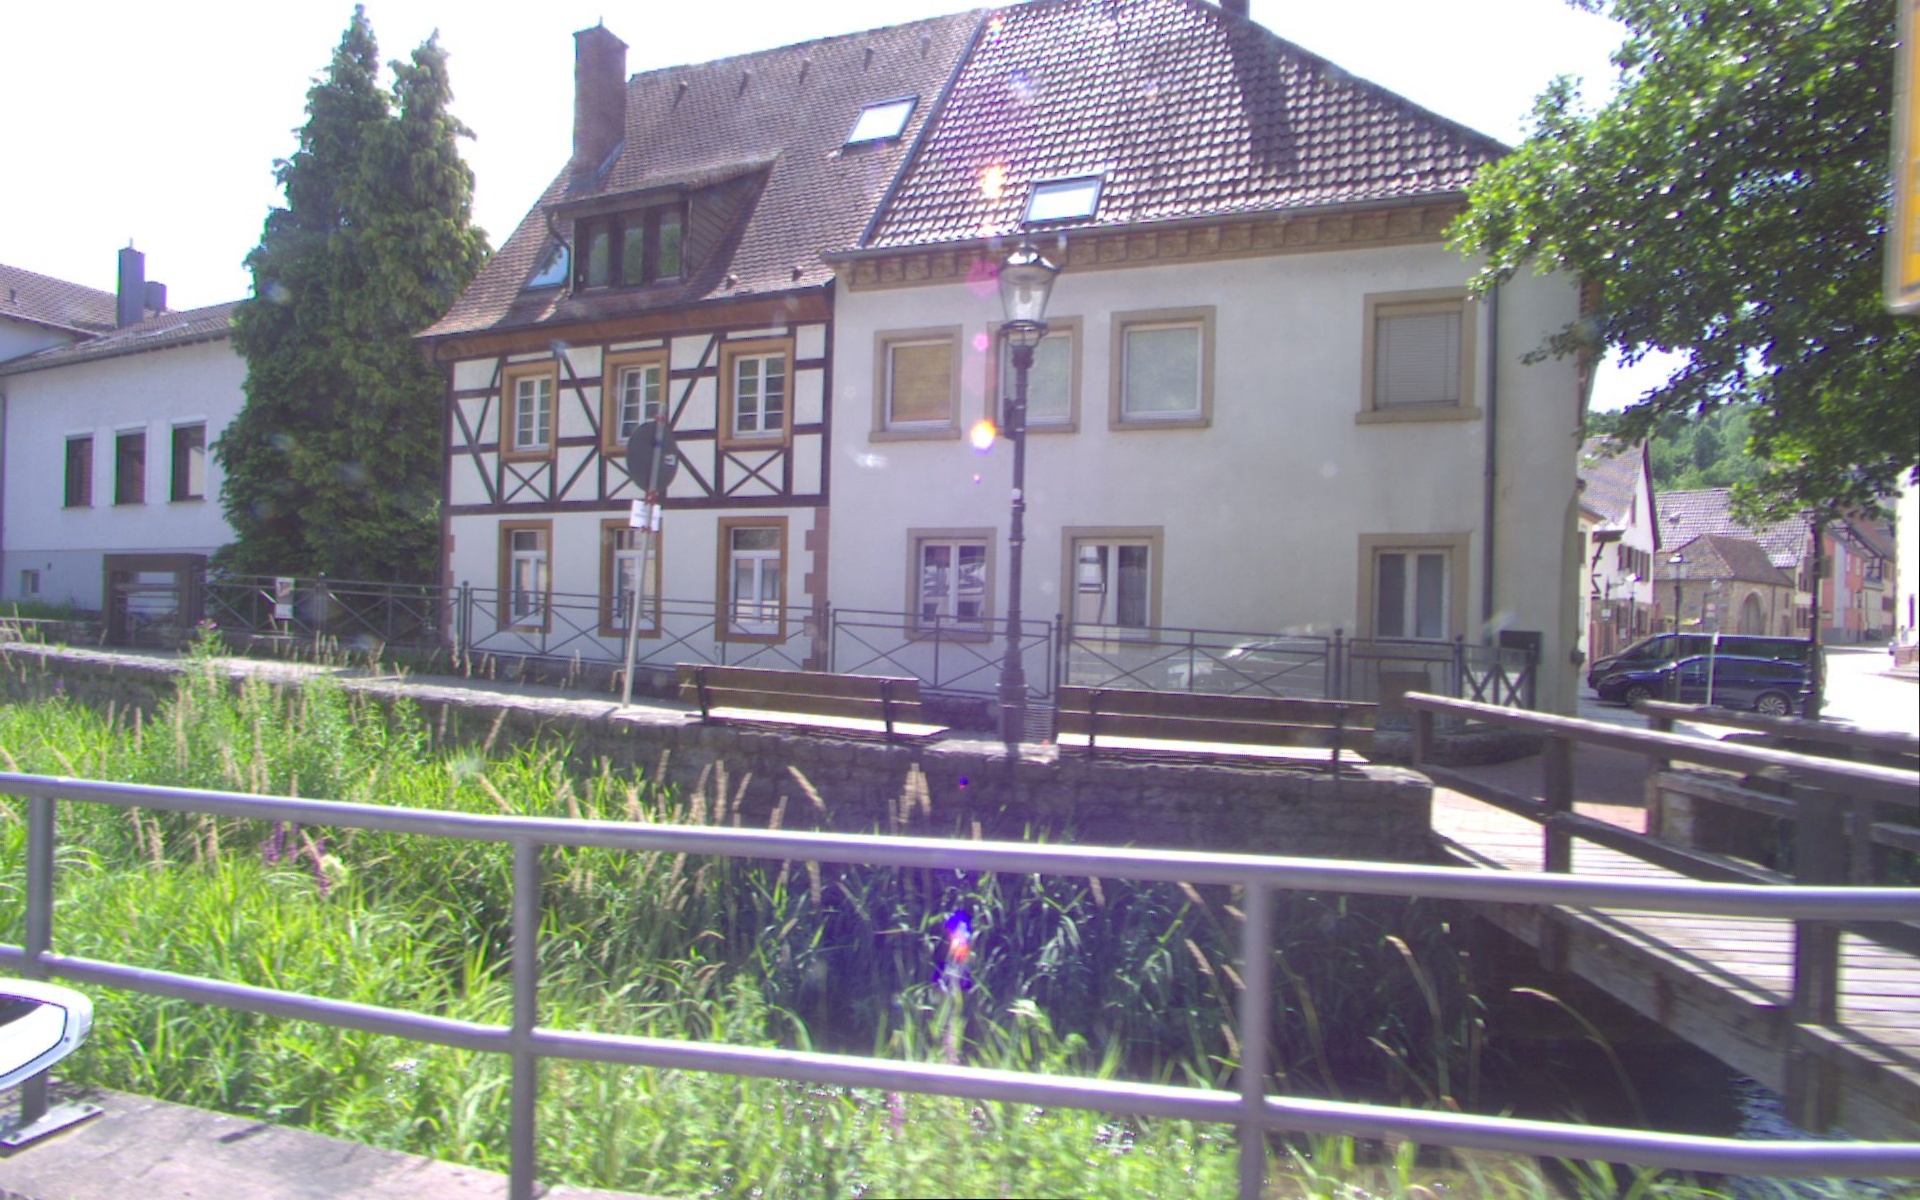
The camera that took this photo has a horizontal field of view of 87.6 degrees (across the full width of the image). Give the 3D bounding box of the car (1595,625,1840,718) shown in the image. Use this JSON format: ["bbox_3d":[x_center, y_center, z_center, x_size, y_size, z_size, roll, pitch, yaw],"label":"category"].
[{"bbox_3d":[20.346,1.845,27.257,5.047,2.054,1.949,3,1,32],"label":"car"}]

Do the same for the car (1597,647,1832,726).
[{"bbox_3d":[18.633,2.081,25.016,4.473,1.502,1.581,3,1,32],"label":"car"}]
